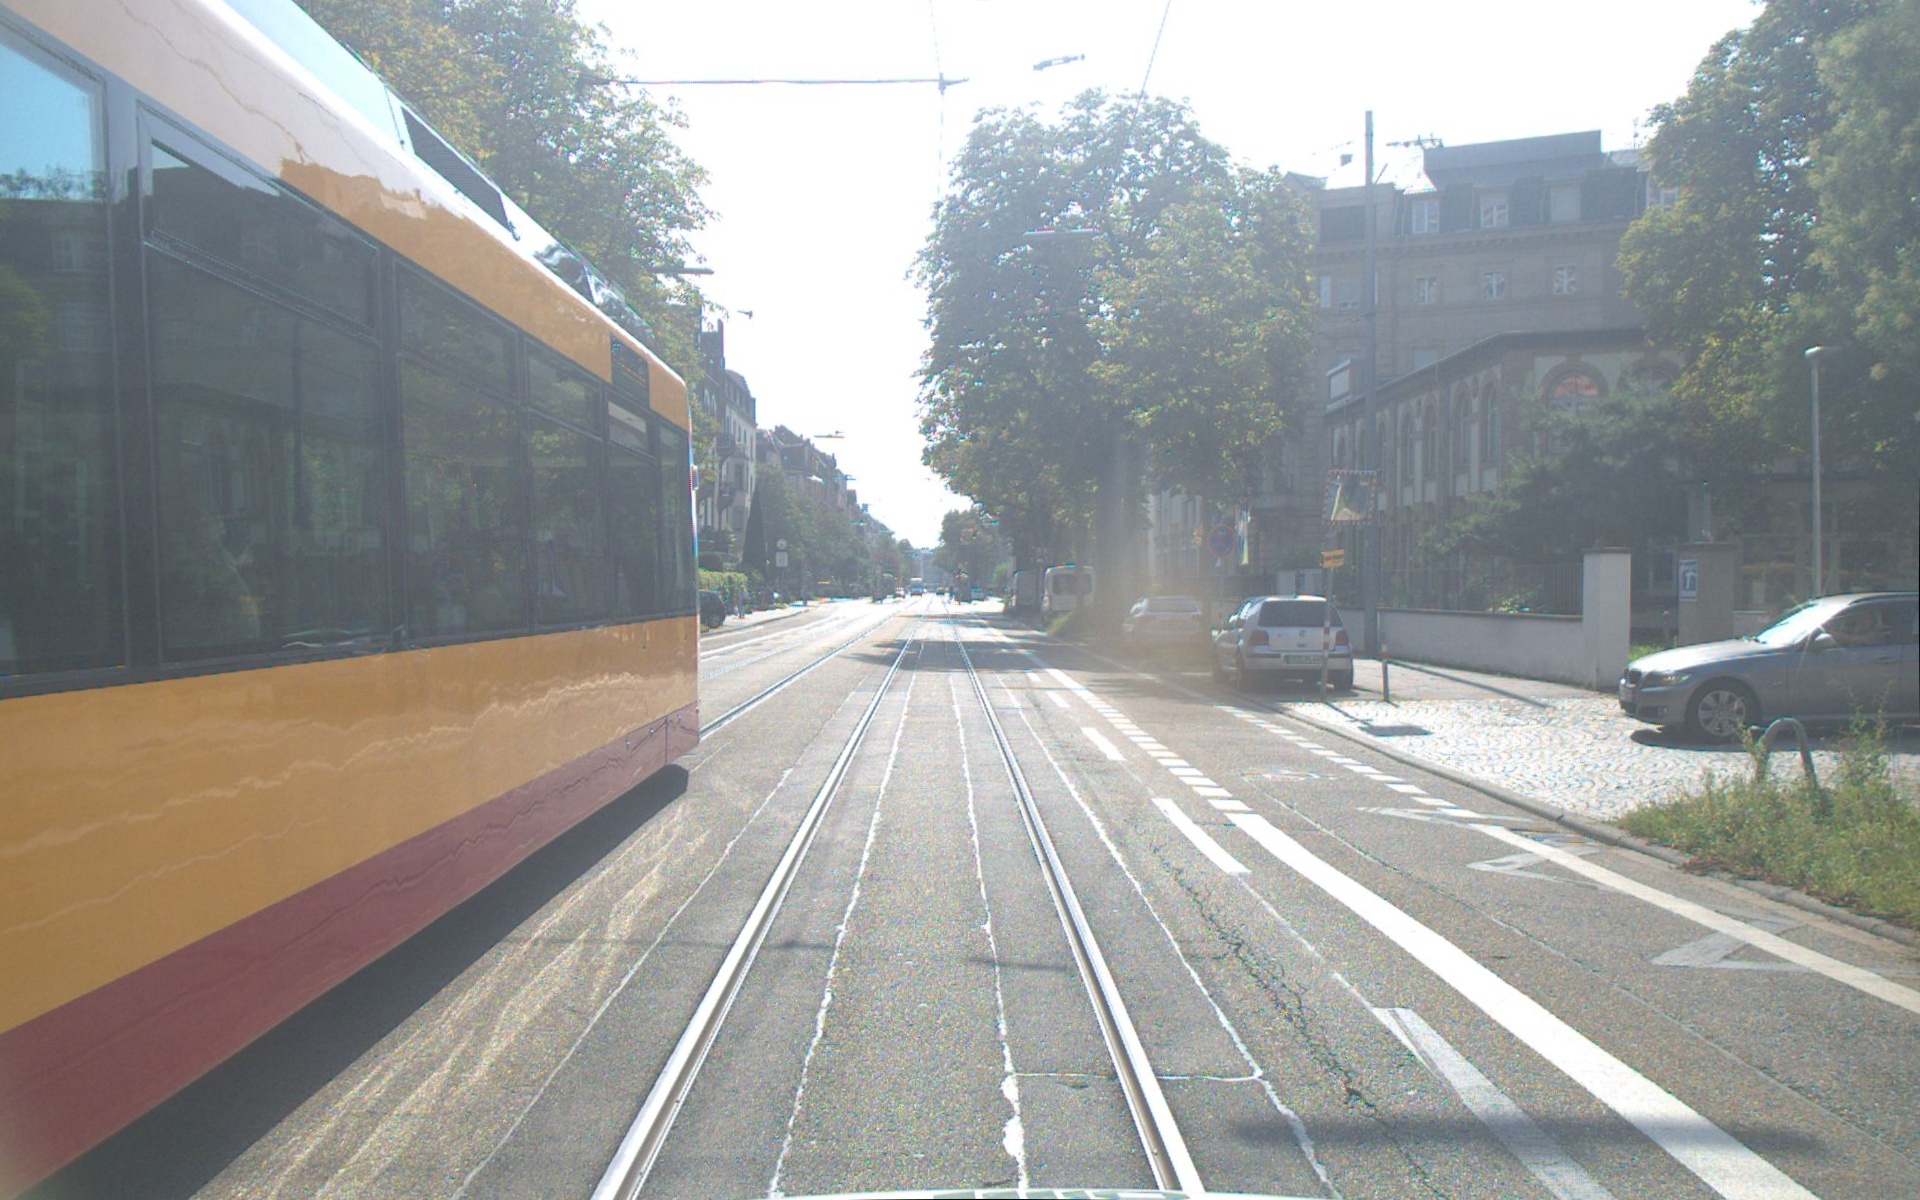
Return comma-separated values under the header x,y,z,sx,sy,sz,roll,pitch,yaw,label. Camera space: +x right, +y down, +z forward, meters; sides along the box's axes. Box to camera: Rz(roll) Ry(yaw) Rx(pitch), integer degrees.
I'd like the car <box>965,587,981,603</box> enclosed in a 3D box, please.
x,y,z,sx,sy,sz,roll,pitch,yaw,label
1.611,-0.599,202.508,1.952,1.870,4.000,0,1,0,car

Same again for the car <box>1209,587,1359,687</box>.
x,y,z,sx,sy,sz,roll,pitch,yaw,label
5.003,0.532,25.952,1.655,1.443,3.634,0,1,0,car

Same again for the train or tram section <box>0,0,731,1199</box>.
x,y,z,sx,sy,sz,roll,pitch,yaw,label
-3.067,-0.076,7.972,2.626,2.912,10.542,0,0,-1,train or tram section

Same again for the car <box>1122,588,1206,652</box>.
x,y,z,sx,sy,sz,roll,pitch,yaw,label
4.831,0.452,39.533,1.562,1.443,3.634,0,1,0,car

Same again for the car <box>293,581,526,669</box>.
x,y,z,sx,sy,sz,roll,pitch,yaw,label
-9.789,0.404,29.600,1.541,1.468,3.745,1,1,39,car

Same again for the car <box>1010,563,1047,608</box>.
x,y,z,sx,sy,sz,roll,pitch,yaw,label
3.902,-0.835,94.636,1.963,2.518,4.477,0,1,0,car

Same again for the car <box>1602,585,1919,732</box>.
x,y,z,sx,sy,sz,roll,pitch,yaw,label
9.115,0.577,17.078,4.326,1.434,1.807,0,0,8,car

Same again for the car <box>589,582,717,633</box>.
x,y,z,sx,sy,sz,roll,pitch,yaw,label
-10.293,0.233,55.457,3.941,1.668,1.676,0,0,-28,car

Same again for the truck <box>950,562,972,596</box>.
x,y,z,sx,sy,sz,roll,pitch,yaw,label
0.071,-1.975,156.226,1.823,3.185,4.350,0,0,-3,truck

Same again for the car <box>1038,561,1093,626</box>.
x,y,z,sx,sy,sz,roll,pitch,yaw,label
4.305,-0.285,67.773,1.963,2.534,4.477,0,1,0,car

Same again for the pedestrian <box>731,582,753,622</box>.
x,y,z,sx,sy,sz,roll,pitch,yaw,label
-9.975,0.089,75.808,0.942,1.791,0.661,0,0,-2,pedestrian

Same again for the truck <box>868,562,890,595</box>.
x,y,z,sx,sy,sz,roll,pitch,yaw,label
-7.624,-2.006,156.050,1.953,3.027,4.570,0,0,-1,truck
